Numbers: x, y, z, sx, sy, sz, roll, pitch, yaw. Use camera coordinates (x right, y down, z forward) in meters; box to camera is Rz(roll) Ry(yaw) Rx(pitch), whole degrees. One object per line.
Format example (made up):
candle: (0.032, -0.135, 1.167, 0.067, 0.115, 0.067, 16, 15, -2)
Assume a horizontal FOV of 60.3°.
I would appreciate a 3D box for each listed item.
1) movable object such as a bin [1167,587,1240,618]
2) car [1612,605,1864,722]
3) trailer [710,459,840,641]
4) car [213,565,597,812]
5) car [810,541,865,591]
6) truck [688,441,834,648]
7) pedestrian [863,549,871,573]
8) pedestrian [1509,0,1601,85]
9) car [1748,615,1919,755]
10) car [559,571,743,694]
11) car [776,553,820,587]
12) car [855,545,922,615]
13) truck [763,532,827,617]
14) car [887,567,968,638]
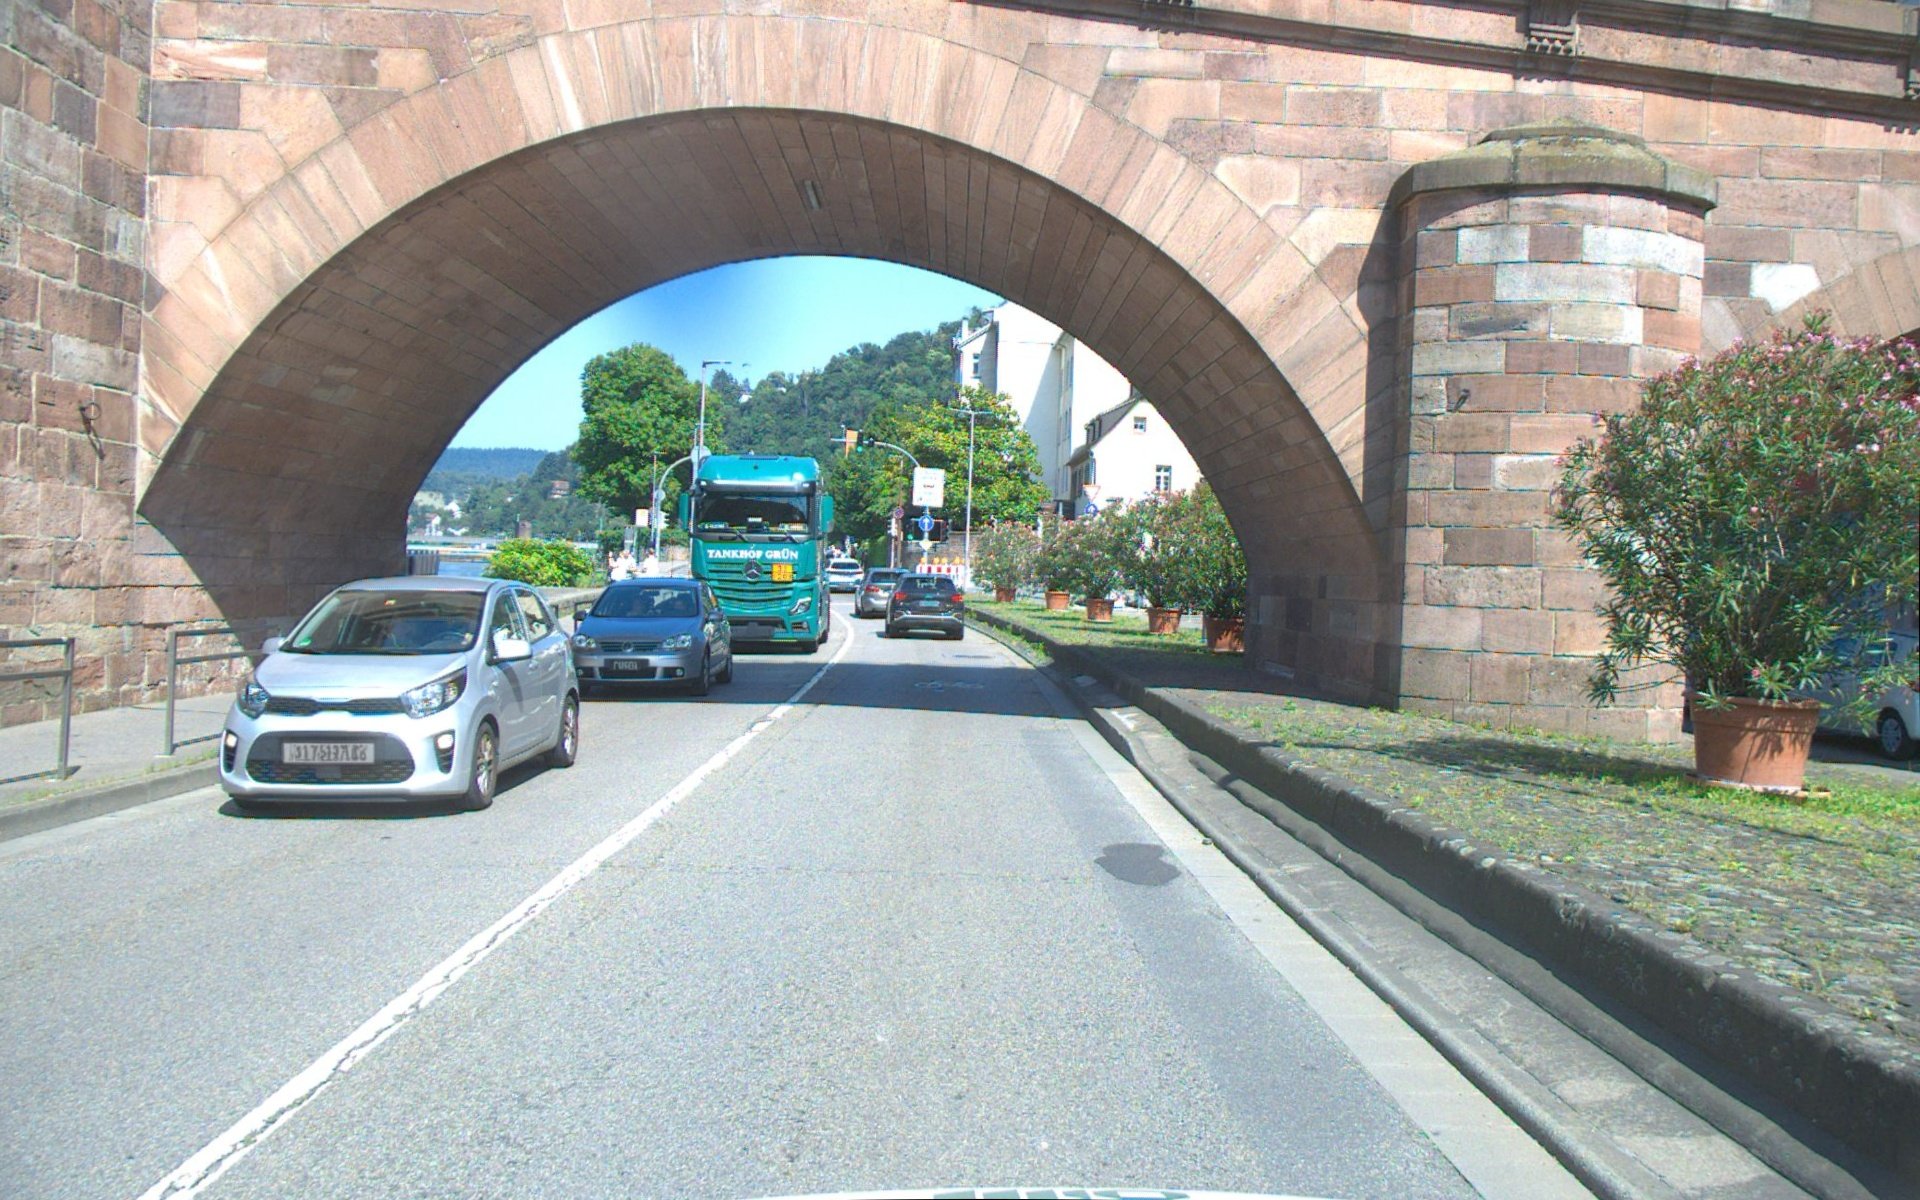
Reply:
movable object such as a bin: (9.403, 0.114, 63.819, 2.934, 1.129, 1.238, 1, 2, -45)
car: (11.717, 0.890, 25.283, 1.854, 1.518, 4.418, 1, 1, 2)
trailer: (-4.226, -1.156, 39.830, 2.473, 3.707, 11.524, 1, 1, -3)
car: (-3.722, 0.524, 11.746, 1.503, 1.462, 3.727, 1, 0, -1)
car: (-5.444, -1.491, 73.377, 1.957, 2.049, 3.990, 3, 0, -10)
truck: (-3.922, -1.102, 33.820, 2.473, 3.813, 6.244, 0, 1, -3)
pedestrian: (-6.291, -2.643, 111.954, 0.447, 1.634, 0.579, 2, 0, -7)
pedestrian: (5.721, -6.088, 15.875, 0.611, 2.049, 0.695, 1, 0, -2)
car: (11.545, 1.008, 20.643, 1.522, 1.502, 3.666, 2, 1, -2)
car: (-3.993, 0.373, 22.027, 1.688, 1.462, 4.399, 1, 0, -1)
car: (-8.845, -1.594, 90.103, 1.958, 1.691, 3.989, 2, 0, -11)
car: (-2.217, -0.597, 51.310, 1.954, 2.049, 3.998, 1, 0, -3)
truck: (-6.931, -1.117, 68.893, 2.331, 3.318, 7.599, -1, 2, -8)
car: (-0.789, 0.013, 39.877, 1.819, 1.550, 4.000, 1, 2, -1)
